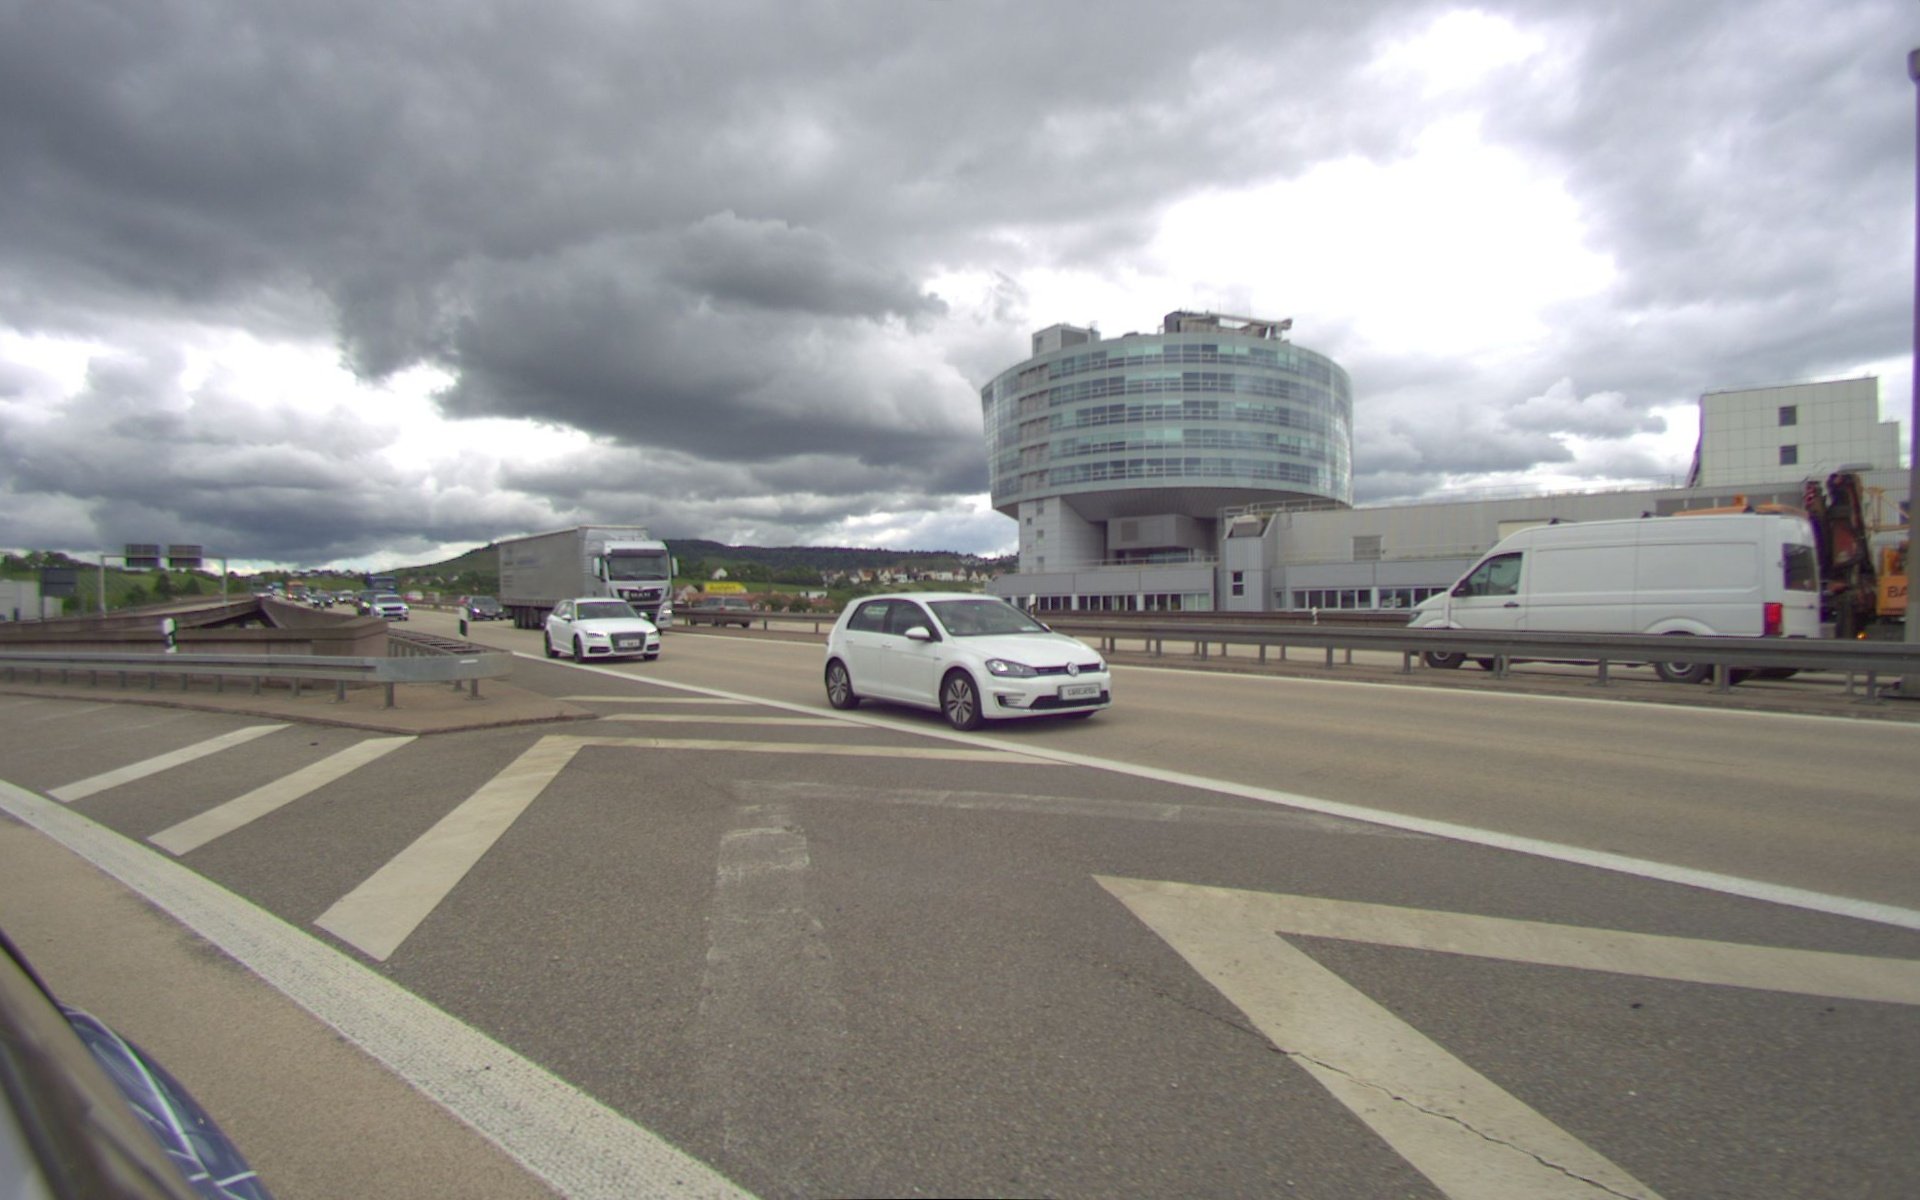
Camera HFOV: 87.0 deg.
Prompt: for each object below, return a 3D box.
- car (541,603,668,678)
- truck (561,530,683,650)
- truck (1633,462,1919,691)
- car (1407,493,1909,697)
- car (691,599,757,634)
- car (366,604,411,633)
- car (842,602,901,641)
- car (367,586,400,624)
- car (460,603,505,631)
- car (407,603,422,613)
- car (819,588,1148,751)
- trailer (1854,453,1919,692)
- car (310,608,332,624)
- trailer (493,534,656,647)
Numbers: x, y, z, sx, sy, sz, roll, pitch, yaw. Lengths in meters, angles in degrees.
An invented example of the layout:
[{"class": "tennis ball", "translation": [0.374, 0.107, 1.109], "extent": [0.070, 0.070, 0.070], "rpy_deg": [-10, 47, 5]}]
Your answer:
[{"class": "car", "translation": [-8.274, 0.884, 23.340], "extent": [1.759, 1.530, 4.010], "rpy_deg": [-2, 0, -34]}, {"class": "truck", "translation": [-12.331, -0.355, 36.723], "extent": [2.818, 4.041, 4.803], "rpy_deg": [-1, 0, -36]}, {"class": "truck", "translation": [15.021, -0.291, 17.403], "extent": [2.706, 3.506, 5.117], "rpy_deg": [2, -3, -37]}, {"class": "car", "translation": [10.919, -0.006, 16.489], "extent": [2.544, 2.664, 6.206], "rpy_deg": [0, -1, -35]}, {"class": "car", "translation": [-10.882, 0.796, 46.567], "extent": [1.623, 1.530, 3.848], "rpy_deg": [2, -3, -35]}, {"class": "car", "translation": [-35.803, 1.159, 63.341], "extent": [1.967, 1.695, 4.009], "rpy_deg": [-1, 0, -36]}, {"class": "car", "translation": [-5.359, 1.258, 61.099], "extent": [1.966, 2.028, 4.013], "rpy_deg": [-6, 3, -28]}, {"class": "car", "translation": [-58.571, 0.536, 102.764], "extent": [2.326, 3.688, 4.811], "rpy_deg": [-3, 1, -34]}, {"class": "car", "translation": [-28.531, 1.024, 60.437], "extent": [1.759, 1.529, 4.010], "rpy_deg": [-3, 1, -34]}, {"class": "car", "translation": [-85.117, 1.230, 157.920], "extent": [1.661, 1.529, 3.659], "rpy_deg": [-3, 1, -34]}, {"class": "car", "translation": [0.083, 0.684, 11.597], "extent": [1.686, 1.508, 4.009], "rpy_deg": [-1, -1, -36]}, {"class": "trailer", "translation": [18.165, -0.469, 13.191], "extent": [2.698, 3.664, 9.376], "rpy_deg": [2, -3, -37]}, {"class": "car", "translation": [-74.336, 1.865, 117.840], "extent": [1.966, 1.695, 4.012], "rpy_deg": [-1, 0, -30]}, {"class": "trailer", "translation": [-16.619, -0.321, 42.605], "extent": [2.818, 4.041, 14.007], "rpy_deg": [-1, 0, -36]}]
